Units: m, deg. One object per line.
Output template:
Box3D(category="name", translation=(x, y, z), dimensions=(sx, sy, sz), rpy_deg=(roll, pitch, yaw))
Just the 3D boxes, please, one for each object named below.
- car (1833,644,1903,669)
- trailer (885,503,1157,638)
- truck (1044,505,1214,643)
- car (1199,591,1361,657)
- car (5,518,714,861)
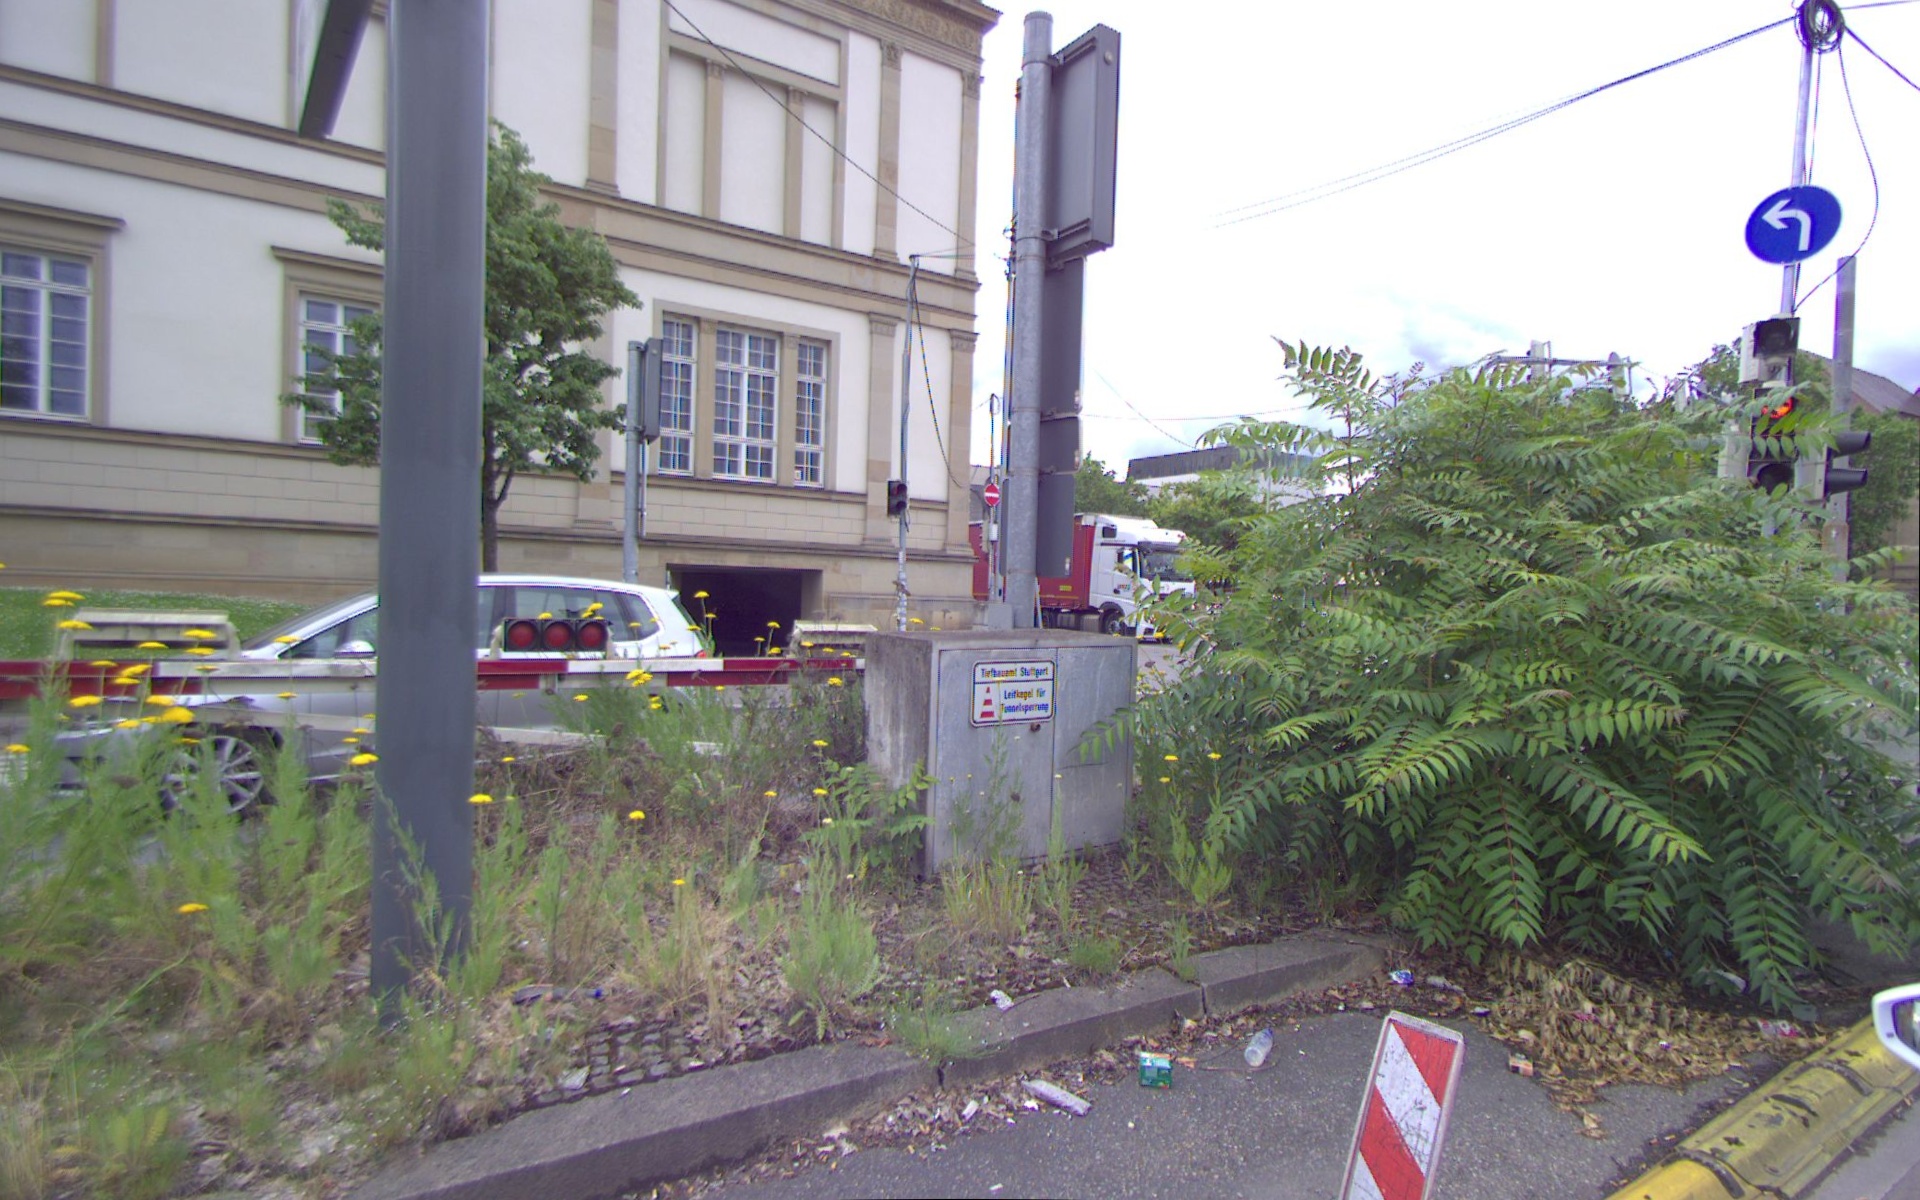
Box3D(category="car", translation=(55.777, 3.479, 61.717), dimensions=(3.626, 1.417, 1.674), rpy_deg=(2, 0, -19))
Box3D(category="trailer", translation=(1.685, -1.009, 38.858), dimensions=(2.916, 4.338, 13.662), rpy_deg=(2, 0, -33))
Box3D(category="truck", translation=(5.442, -0.770, 33.018), dimensions=(2.915, 4.118, 4.846), rpy_deg=(2, 0, -34))
Box3D(category="car", translation=(8.695, 0.620, 27.617), dimensions=(1.810, 1.646, 4.032), rpy_deg=(2, 0, -31))
Box3D(category="car", translation=(-4.005, 0.497, 7.182), dimensions=(3.970, 1.769, 1.815), rpy_deg=(2, 0, -42))
